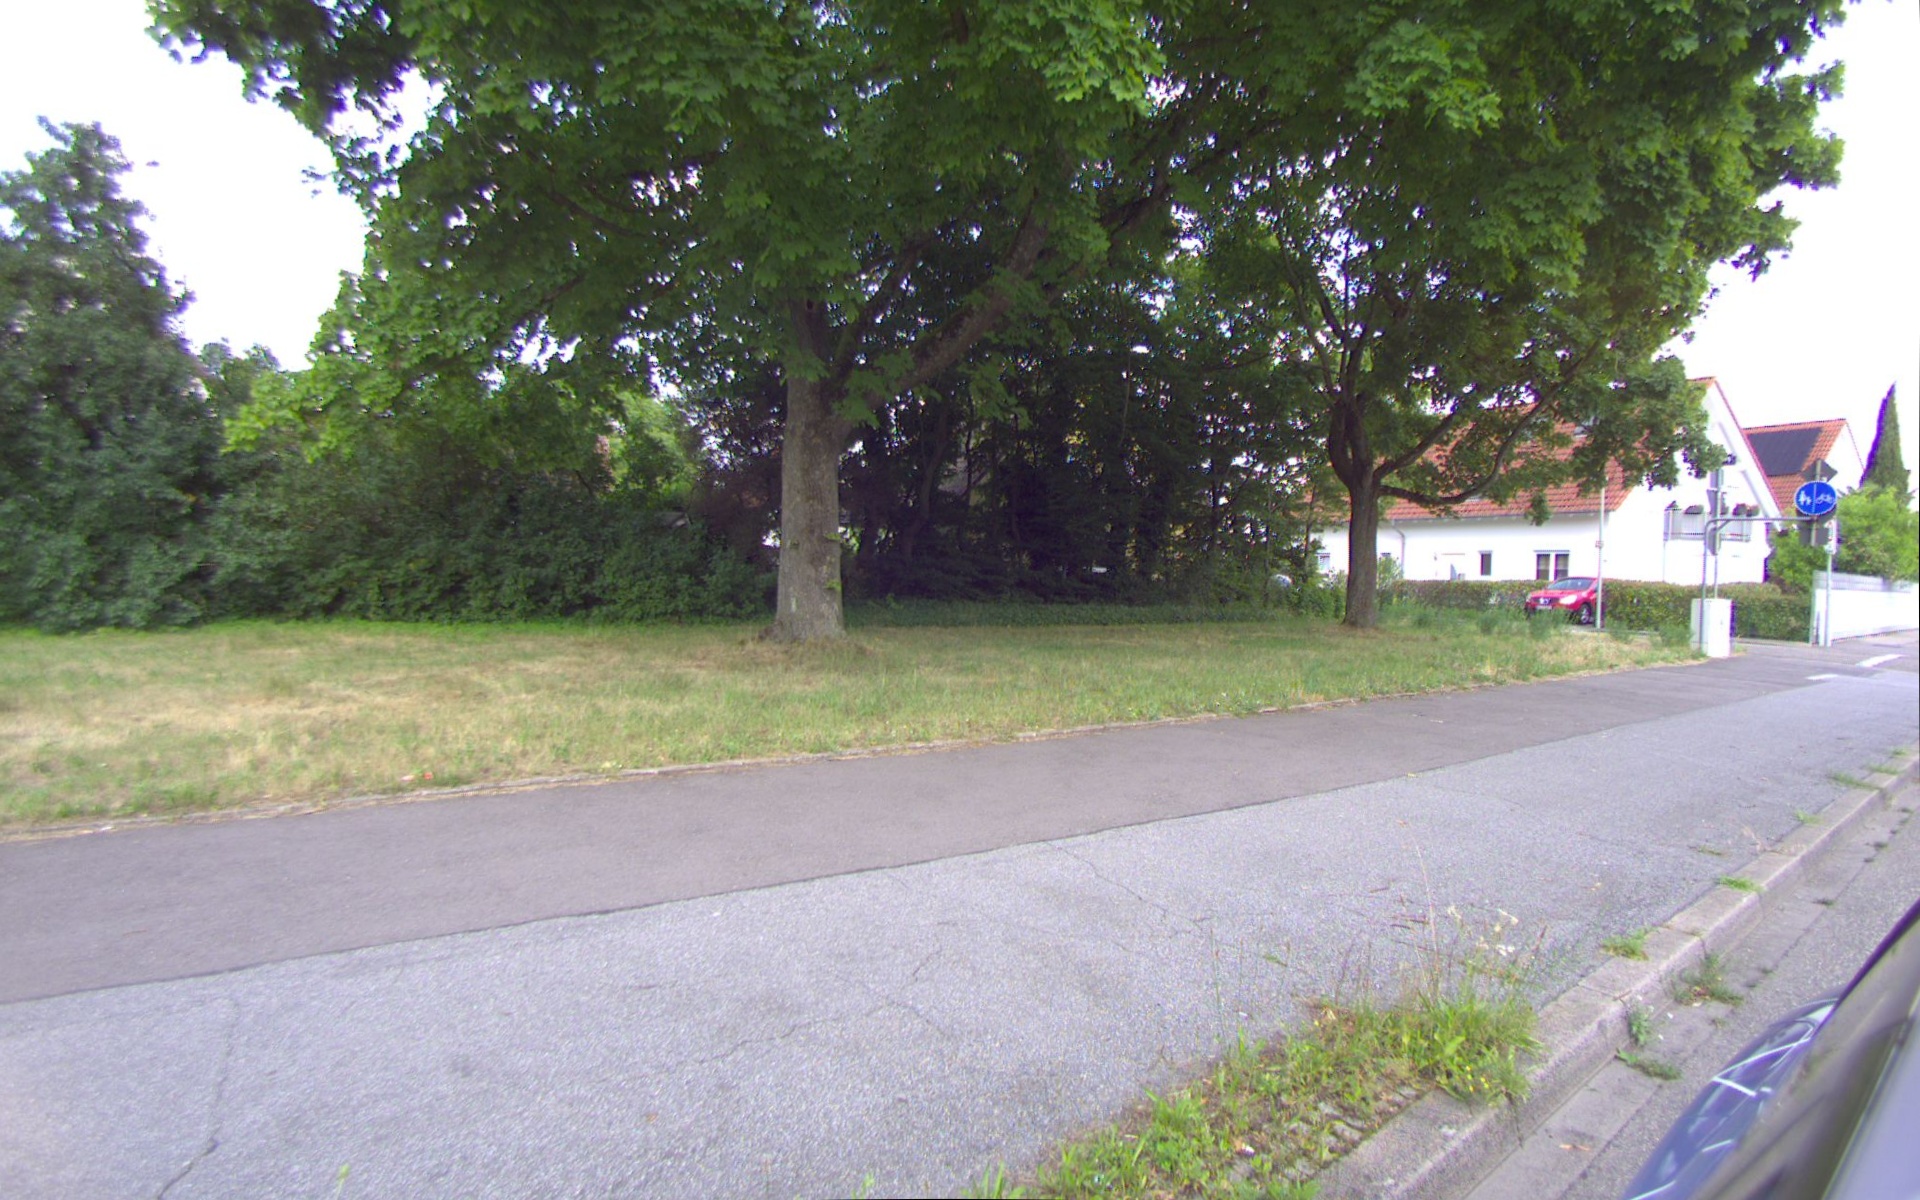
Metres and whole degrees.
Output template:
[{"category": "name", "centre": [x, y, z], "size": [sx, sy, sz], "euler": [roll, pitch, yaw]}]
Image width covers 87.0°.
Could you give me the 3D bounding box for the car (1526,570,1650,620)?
[{"category": "car", "centre": [20.981, -0.171, 33.776], "size": [4.305, 1.549, 1.684], "euler": [1, 2, -30]}]
